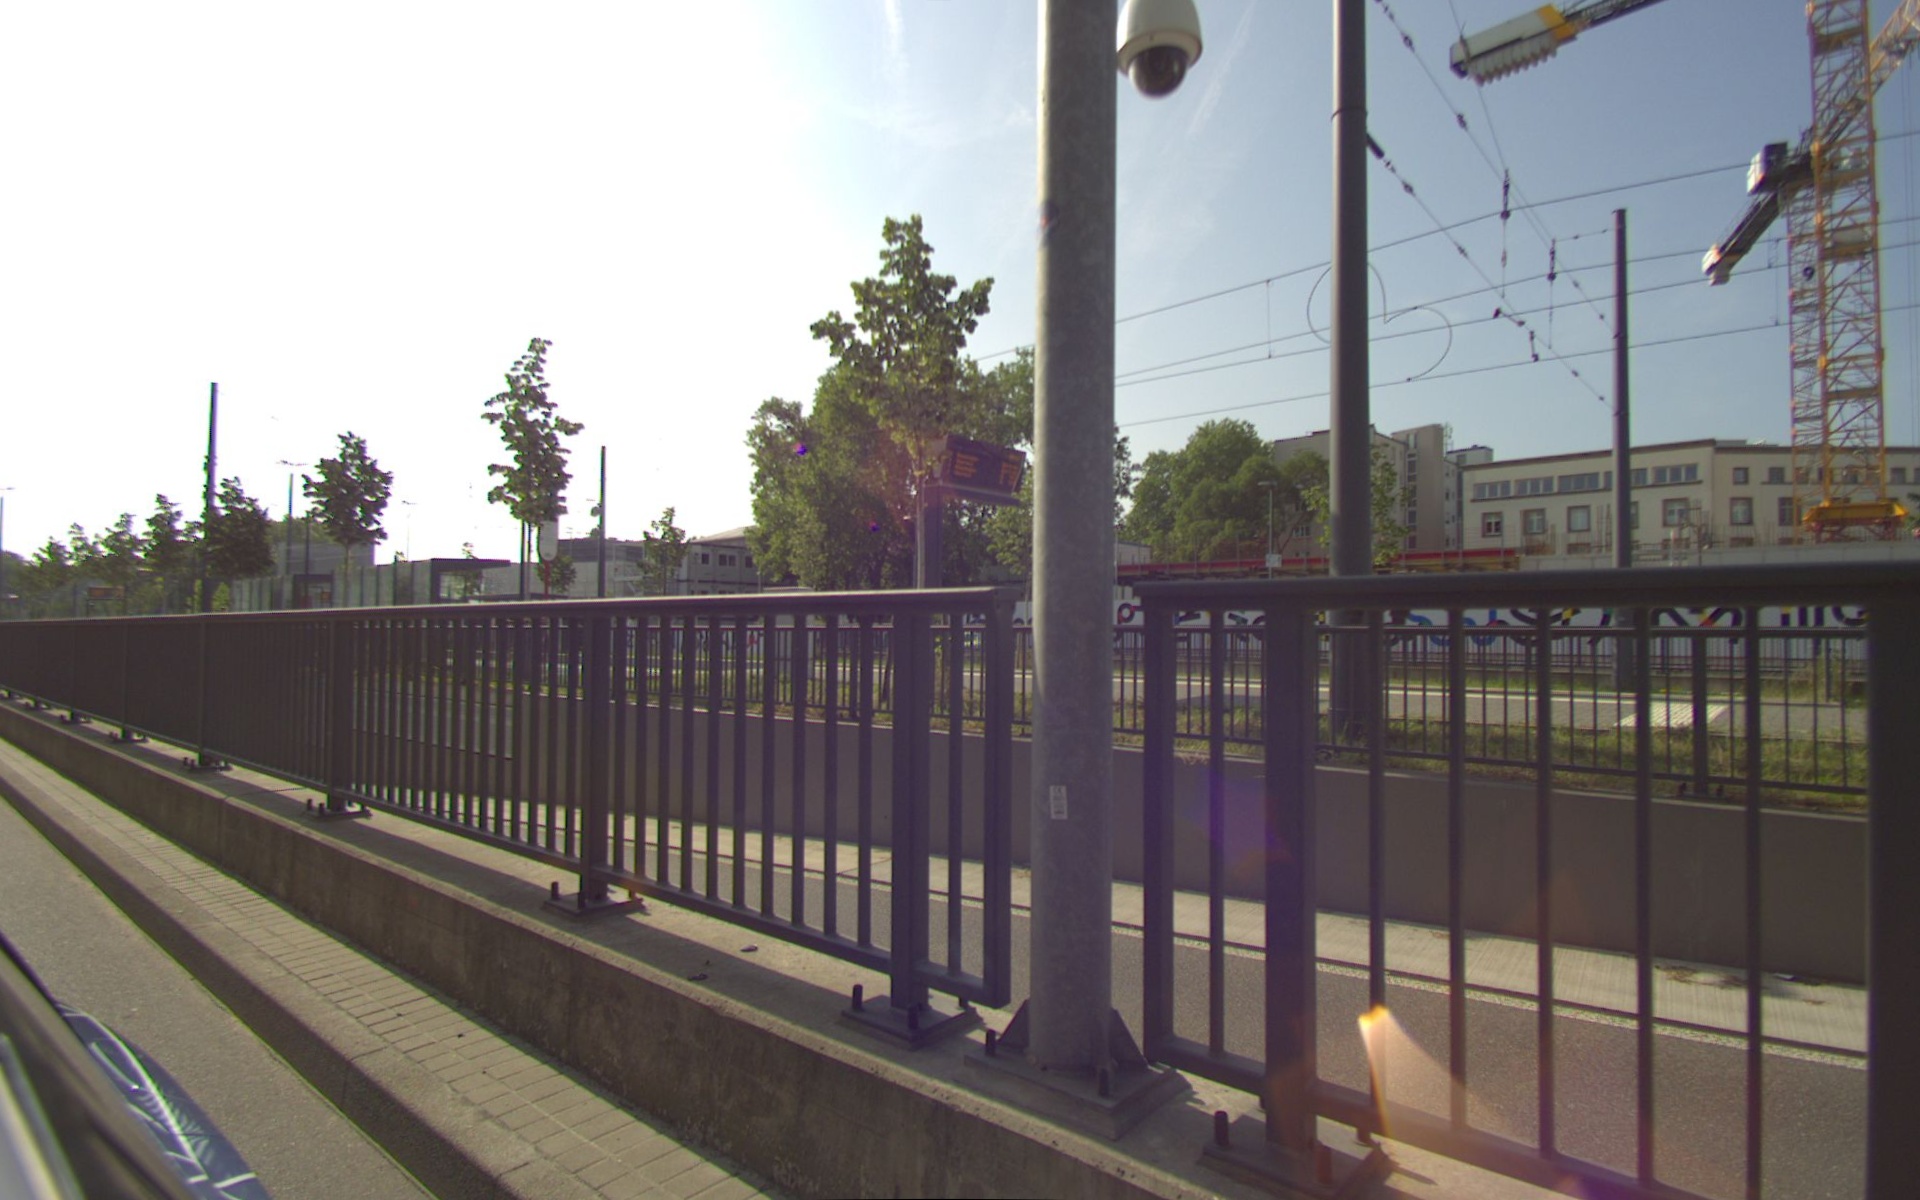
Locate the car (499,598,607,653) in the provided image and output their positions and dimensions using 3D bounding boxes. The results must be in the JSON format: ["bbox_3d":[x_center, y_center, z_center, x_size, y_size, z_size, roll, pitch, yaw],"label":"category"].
[{"bbox_3d":[-27.823,1.763,68.972,9.229,3.539,3.022,-1,-2,41],"label":"car"}]

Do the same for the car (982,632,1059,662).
[{"bbox_3d":[2.537,1.979,42.832,2.959,1.211,1.485,-1,-2,41],"label":"car"}]

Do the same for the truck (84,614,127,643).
[{"bbox_3d":[-113.259,3.837,134.123,8.885,3.614,2.990,-2,-3,41],"label":"truck"}]

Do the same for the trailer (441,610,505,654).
[{"bbox_3d":[-32.380,2.112,67.260,5.019,2.802,2.023,-1,-1,41],"label":"trailer"}]
